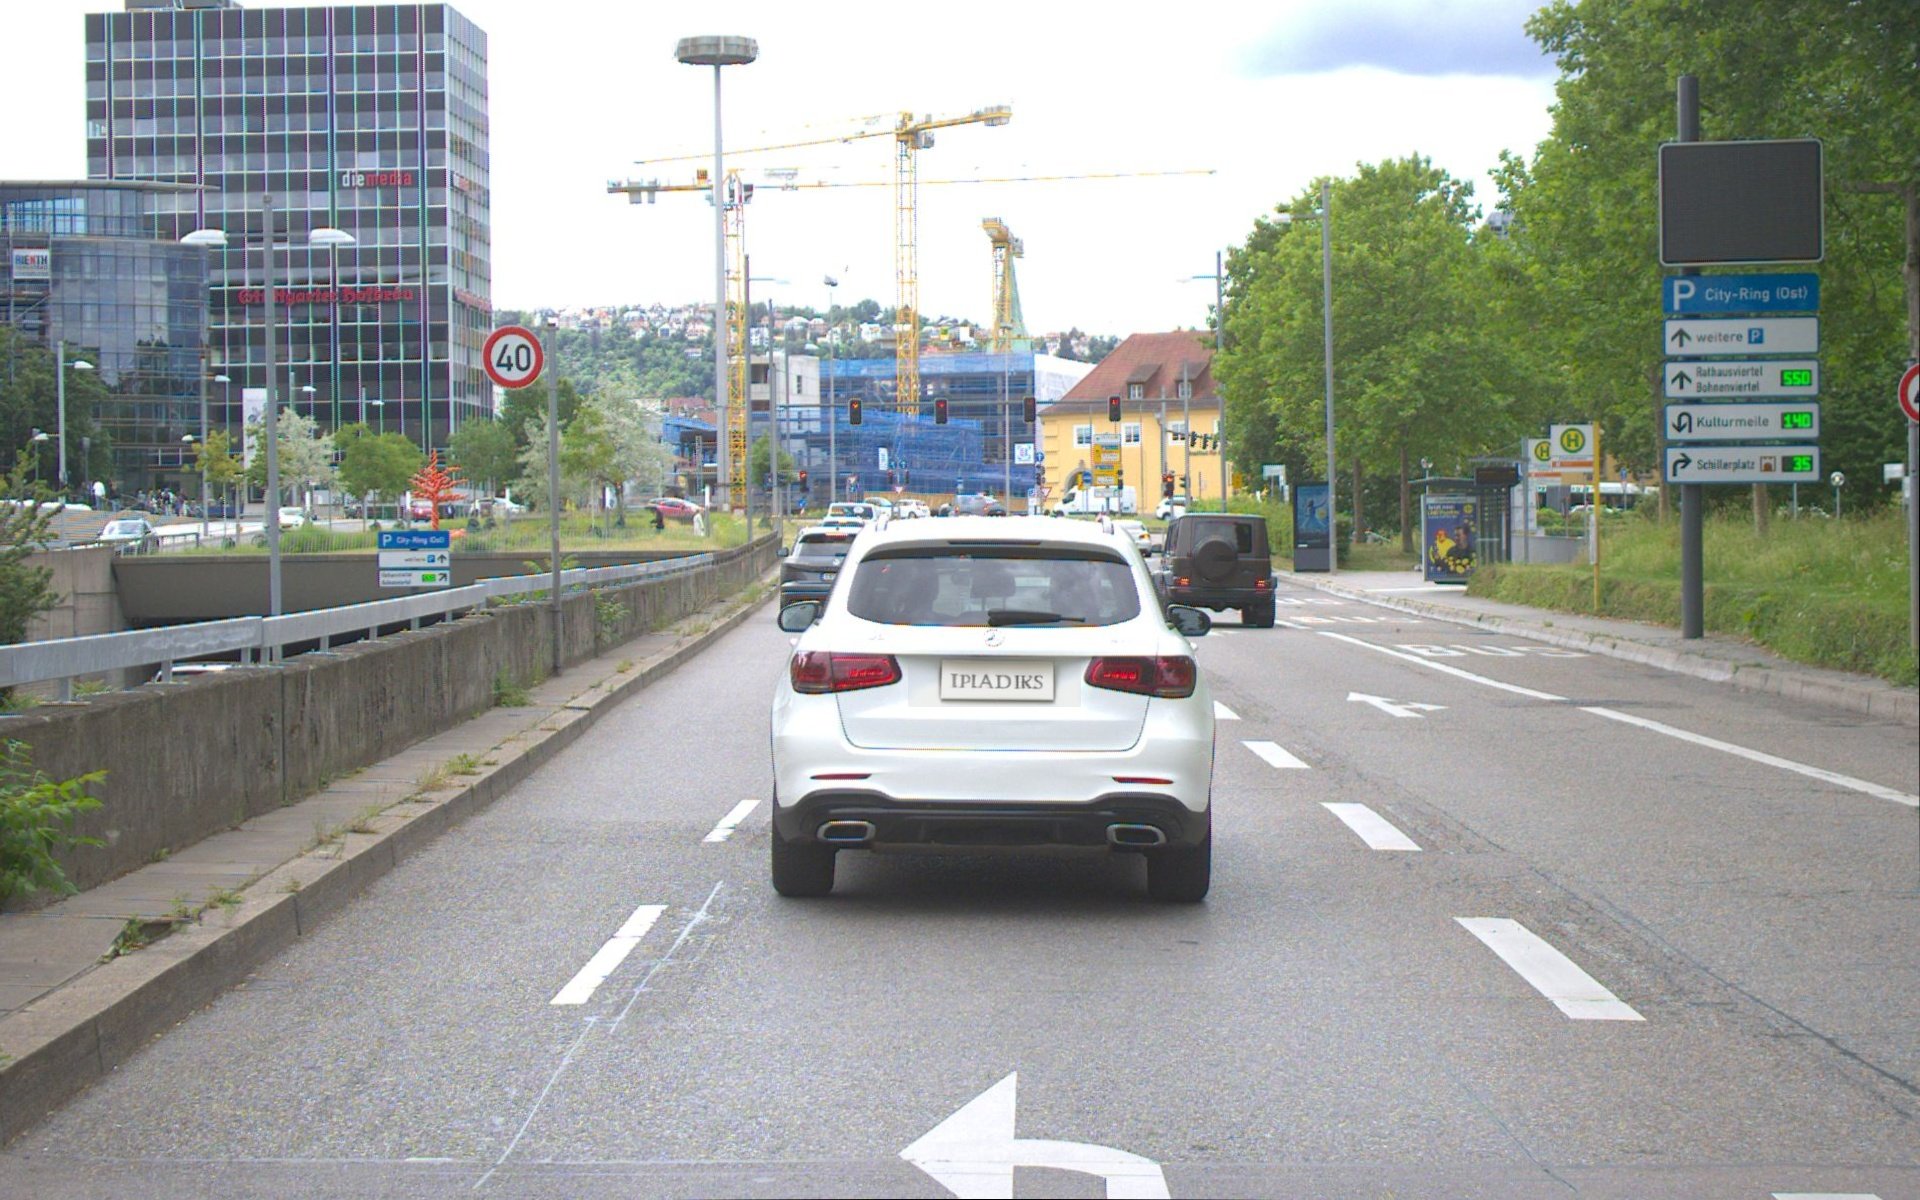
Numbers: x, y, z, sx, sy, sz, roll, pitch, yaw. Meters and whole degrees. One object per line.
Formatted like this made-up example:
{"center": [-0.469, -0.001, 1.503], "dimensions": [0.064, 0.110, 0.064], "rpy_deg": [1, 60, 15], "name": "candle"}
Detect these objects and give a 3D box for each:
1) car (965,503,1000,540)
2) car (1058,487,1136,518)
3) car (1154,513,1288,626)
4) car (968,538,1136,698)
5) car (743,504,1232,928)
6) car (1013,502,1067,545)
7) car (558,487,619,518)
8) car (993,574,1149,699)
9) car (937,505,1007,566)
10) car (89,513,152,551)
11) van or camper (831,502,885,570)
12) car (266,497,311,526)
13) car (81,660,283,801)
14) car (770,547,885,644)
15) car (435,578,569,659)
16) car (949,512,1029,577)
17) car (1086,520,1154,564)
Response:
{"center": [1.297, -4.504, 197.444], "dimensions": [1.800, 2.007, 4.000], "rpy_deg": [2, 0, -2], "name": "car"}
{"center": [9.498, -6.773, 238.691], "dimensions": [5.283, 2.053, 1.869], "rpy_deg": [2, 0, 38], "name": "car"}
{"center": [4.612, -0.528, 61.342], "dimensions": [1.977, 1.887, 4.707], "rpy_deg": [2, 0, 0], "name": "car"}
{"center": [0.963, 0.168, 37.922], "dimensions": [1.672, 1.622, 4.000], "rpy_deg": [2, 0, 0], "name": "car"}
{"center": [0.083, 0.456, 15.690], "dimensions": [1.940, 1.678, 4.000], "rpy_deg": [0, 0, -1], "name": "car"}
{"center": [3.068, -2.917, 132.421], "dimensions": [1.719, 1.579, 4.001], "rpy_deg": [2, 1, -3], "name": "car"}
{"center": [-26.566, -6.967, 245.701], "dimensions": [3.985, 2.007, 2.001], "rpy_deg": [2, 0, -18], "name": "car"}
{"center": [1.496, 0.477, 47.729], "dimensions": [1.922, 1.596, 4.000], "rpy_deg": [1, 1, -2], "name": "car"}
{"center": [0.344, -1.963, 105.698], "dimensions": [1.993, 1.774, 4.000], "rpy_deg": [2, 0, -2], "name": "car"}
{"center": [-32.063, -2.581, 131.426], "dimensions": [1.832, 1.355, 3.869], "rpy_deg": [2, 0, -6], "name": "car"}
{"center": [-3.694, -2.292, 124.668], "dimensions": [1.922, 2.312, 4.000], "rpy_deg": [1, -1, -2], "name": "van or camper"}
{"center": [-36.370, -4.770, 186.150], "dimensions": [1.809, 1.422, 3.708], "rpy_deg": [2, 0, -2], "name": "car"}
{"center": [-9.116, 1.502, 40.524], "dimensions": [1.627, 1.504, 3.540], "rpy_deg": [1, 0, -1], "name": "car"}
{"center": [-2.297, -0.105, 60.141], "dimensions": [1.922, 1.596, 4.000], "rpy_deg": [1, 1, -2], "name": "car"}
{"center": [-8.002, 0.304, 60.376], "dimensions": [1.719, 1.288, 4.000], "rpy_deg": [2, 1, 1], "name": "car"}
{"center": [0.768, -1.480, 93.252], "dimensions": [1.993, 1.656, 4.000], "rpy_deg": [2, 0, -2], "name": "car"}
{"center": [6.138, -2.217, 132.261], "dimensions": [1.993, 1.612, 4.001], "rpy_deg": [2, 0, -6], "name": "car"}
